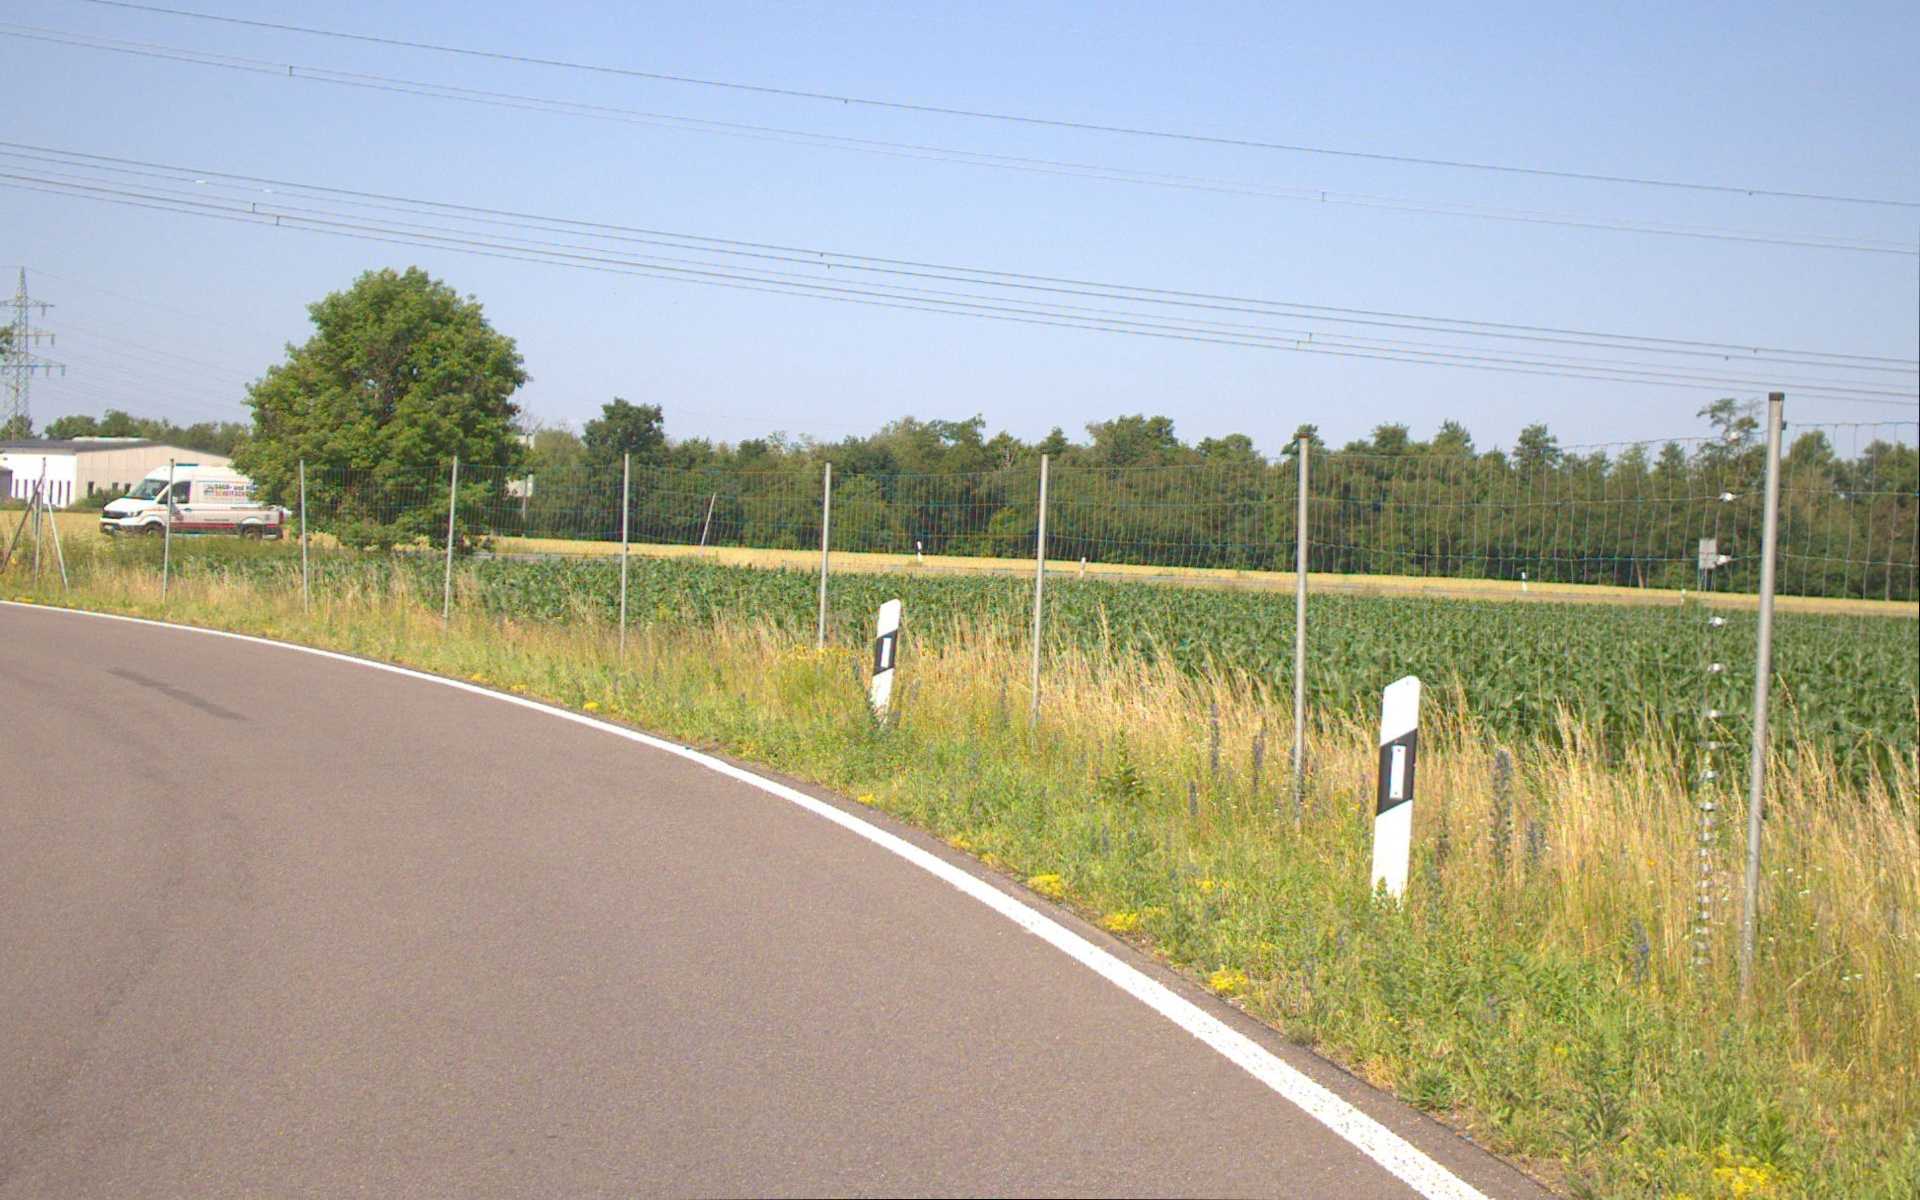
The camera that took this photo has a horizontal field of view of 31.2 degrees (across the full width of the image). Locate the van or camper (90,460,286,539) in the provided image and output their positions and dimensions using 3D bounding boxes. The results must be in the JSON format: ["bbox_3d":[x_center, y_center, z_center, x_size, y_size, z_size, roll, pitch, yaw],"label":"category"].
[{"bbox_3d":[-24.553,-3.190,109.475,5.752,2.259,1.999,2,1,-41],"label":"van or camper"}]
